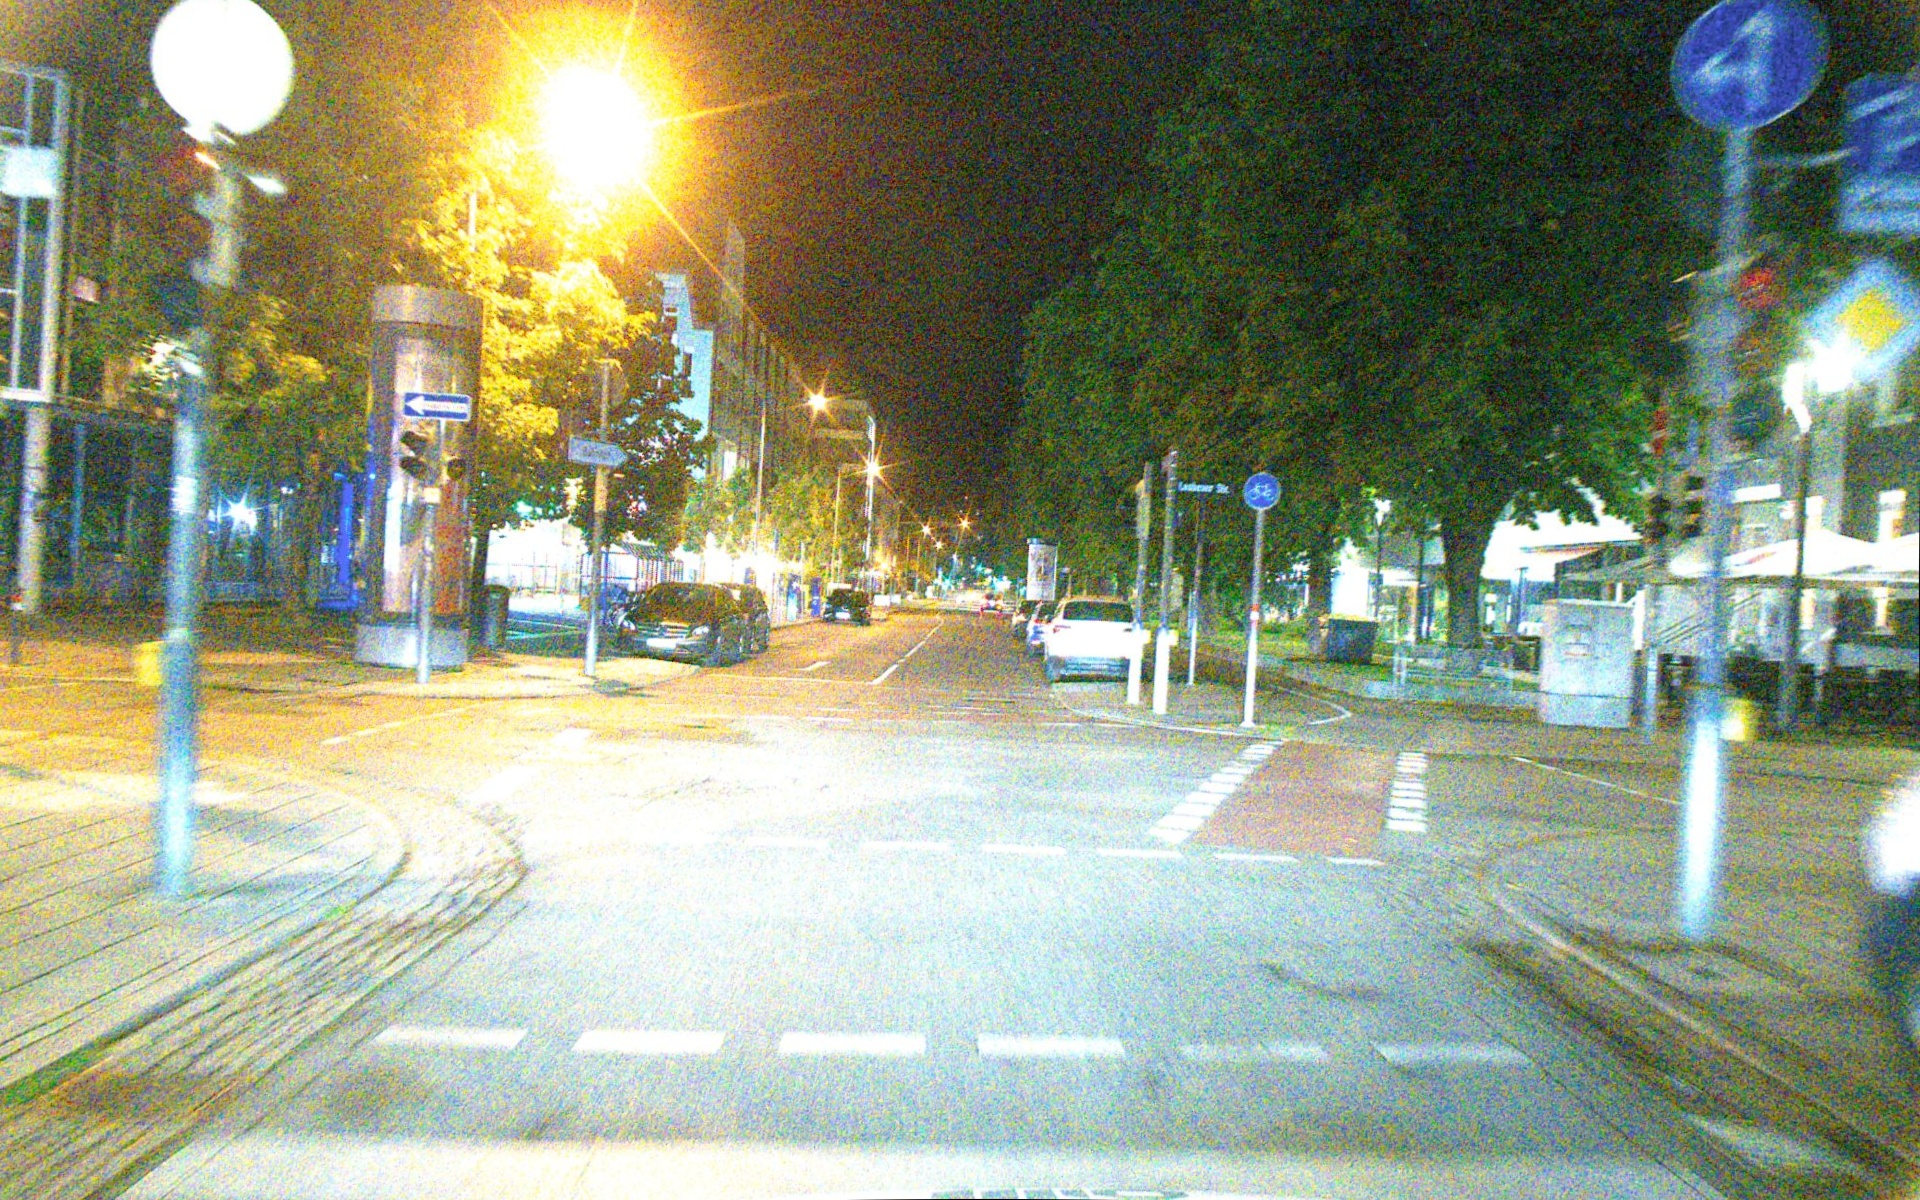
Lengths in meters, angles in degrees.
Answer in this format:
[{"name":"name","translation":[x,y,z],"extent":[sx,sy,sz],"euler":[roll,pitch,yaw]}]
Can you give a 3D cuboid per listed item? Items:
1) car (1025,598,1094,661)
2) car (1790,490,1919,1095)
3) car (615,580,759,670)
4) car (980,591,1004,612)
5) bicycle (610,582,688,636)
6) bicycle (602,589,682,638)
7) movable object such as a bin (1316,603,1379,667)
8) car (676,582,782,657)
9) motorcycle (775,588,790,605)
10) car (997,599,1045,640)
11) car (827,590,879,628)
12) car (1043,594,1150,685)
[{"name":"car","translation":[2.647,0.761,44.752],"extent":[1.655,1.563,4.016],"euler":[2,0,1]},{"name":"car","translation":[3.842,0.628,3.547],"extent":[1.752,1.854,4.579],"euler":[2,0,0]},{"name":"car","translation":[-5.108,0.427,31.590],"extent":[1.770,1.449,4.921],"euler":[5,0,1]},{"name":"car","translation":[2.641,0.137,138.123],"extent":[1.953,1.672,4.000],"euler":[2,0,0]},{"name":"bicycle","translation":[-7.881,0.231,41.890],"extent":[1.813,1.275,0.533],"euler":[3,0,0]},{"name":"bicycle","translation":[-7.928,0.332,41.230],"extent":[1.813,1.053,0.533],"euler":[4,0,0]},{"name":"movable object such as a bin","translation":[8.938,0.800,38.152],"extent":[1.137,1.394,0.993],"euler":[3,0,-1]},{"name":"car","translation":[-5.164,0.406,37.466],"extent":[1.687,1.453,3.977],"euler":[5,0,1]},{"name":"motorcycle","translation":[-11.350,-0.220,105.783],"extent":[0.468,1.038,1.676],"euler":[3,0,11]},{"name":"car","translation":[2.300,0.709,62.979],"extent":[1.728,1.439,4.808],"euler":[2,0,1]},{"name":"car","translation":[-4.479,0.339,69.589],"extent":[1.705,1.438,4.496],"euler":[4,0,1]},{"name":"car","translation":[2.494,0.681,31.039],"extent":[1.733,1.563,4.217],"euler":[1,0,1]}]
